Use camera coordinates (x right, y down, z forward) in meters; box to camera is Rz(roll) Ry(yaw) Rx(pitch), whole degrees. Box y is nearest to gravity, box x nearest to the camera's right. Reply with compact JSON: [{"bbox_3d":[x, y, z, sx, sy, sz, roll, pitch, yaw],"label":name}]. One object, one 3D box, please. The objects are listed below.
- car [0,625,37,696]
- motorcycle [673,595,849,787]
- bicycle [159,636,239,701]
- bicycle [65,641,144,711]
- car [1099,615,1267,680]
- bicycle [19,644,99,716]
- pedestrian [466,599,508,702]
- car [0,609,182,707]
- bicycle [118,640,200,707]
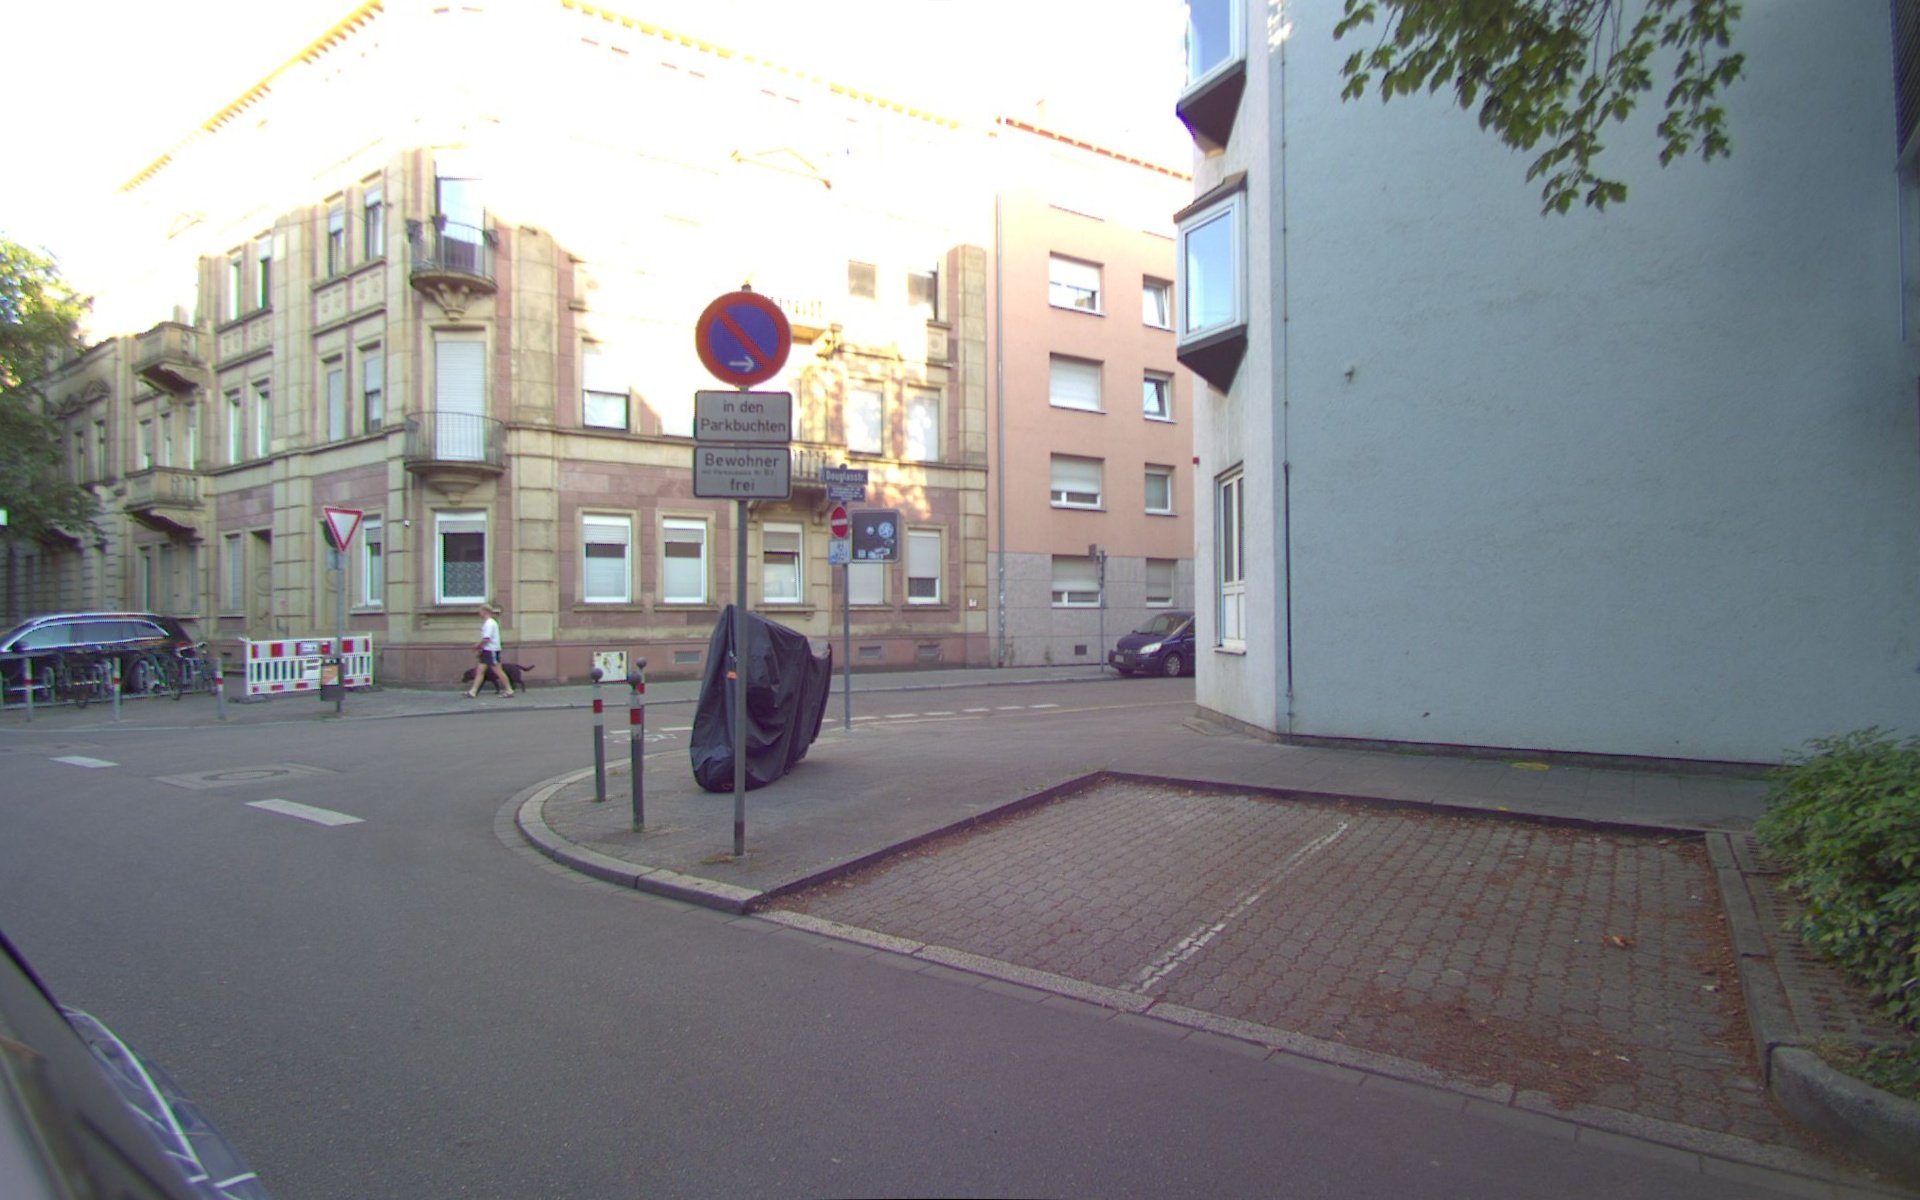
[{"bbox_3d":[-24.298,1.430,23.387,1.740,1.690,4.190,-1,-2,39],"label":"car"},{"bbox_3d":[-1.719,0.742,9.198,0.809,1.516,2.276,-1,-1,10],"label":"motorcycle"},{"bbox_3d":[-14.439,1.272,19.180,2.033,1.159,0.556,-1,-1,33],"label":"bicycle"},{"bbox_3d":[-15.265,1.331,18.048,2.034,1.159,0.555,-1,-1,34],"label":"bicycle"},{"bbox_3d":[5.744,1.165,25.848,4.297,1.529,1.789,1,-2,-36],"label":"car"},{"bbox_3d":[-15.618,1.355,17.519,2.034,1.159,0.555,-1,-1,34],"label":"bicycle"},{"bbox_3d":[-8.620,0.904,18.427,0.640,1.821,0.575,0,-1,-31],"label":"pedestrian"},{"bbox_3d":[-17.897,1.089,19.462,1.740,1.795,4.368,-1,-2,39],"label":"car"},{"bbox_3d":[-14.793,1.333,18.676,2.033,1.159,0.556,-1,-1,33],"label":"bicycle"}]
